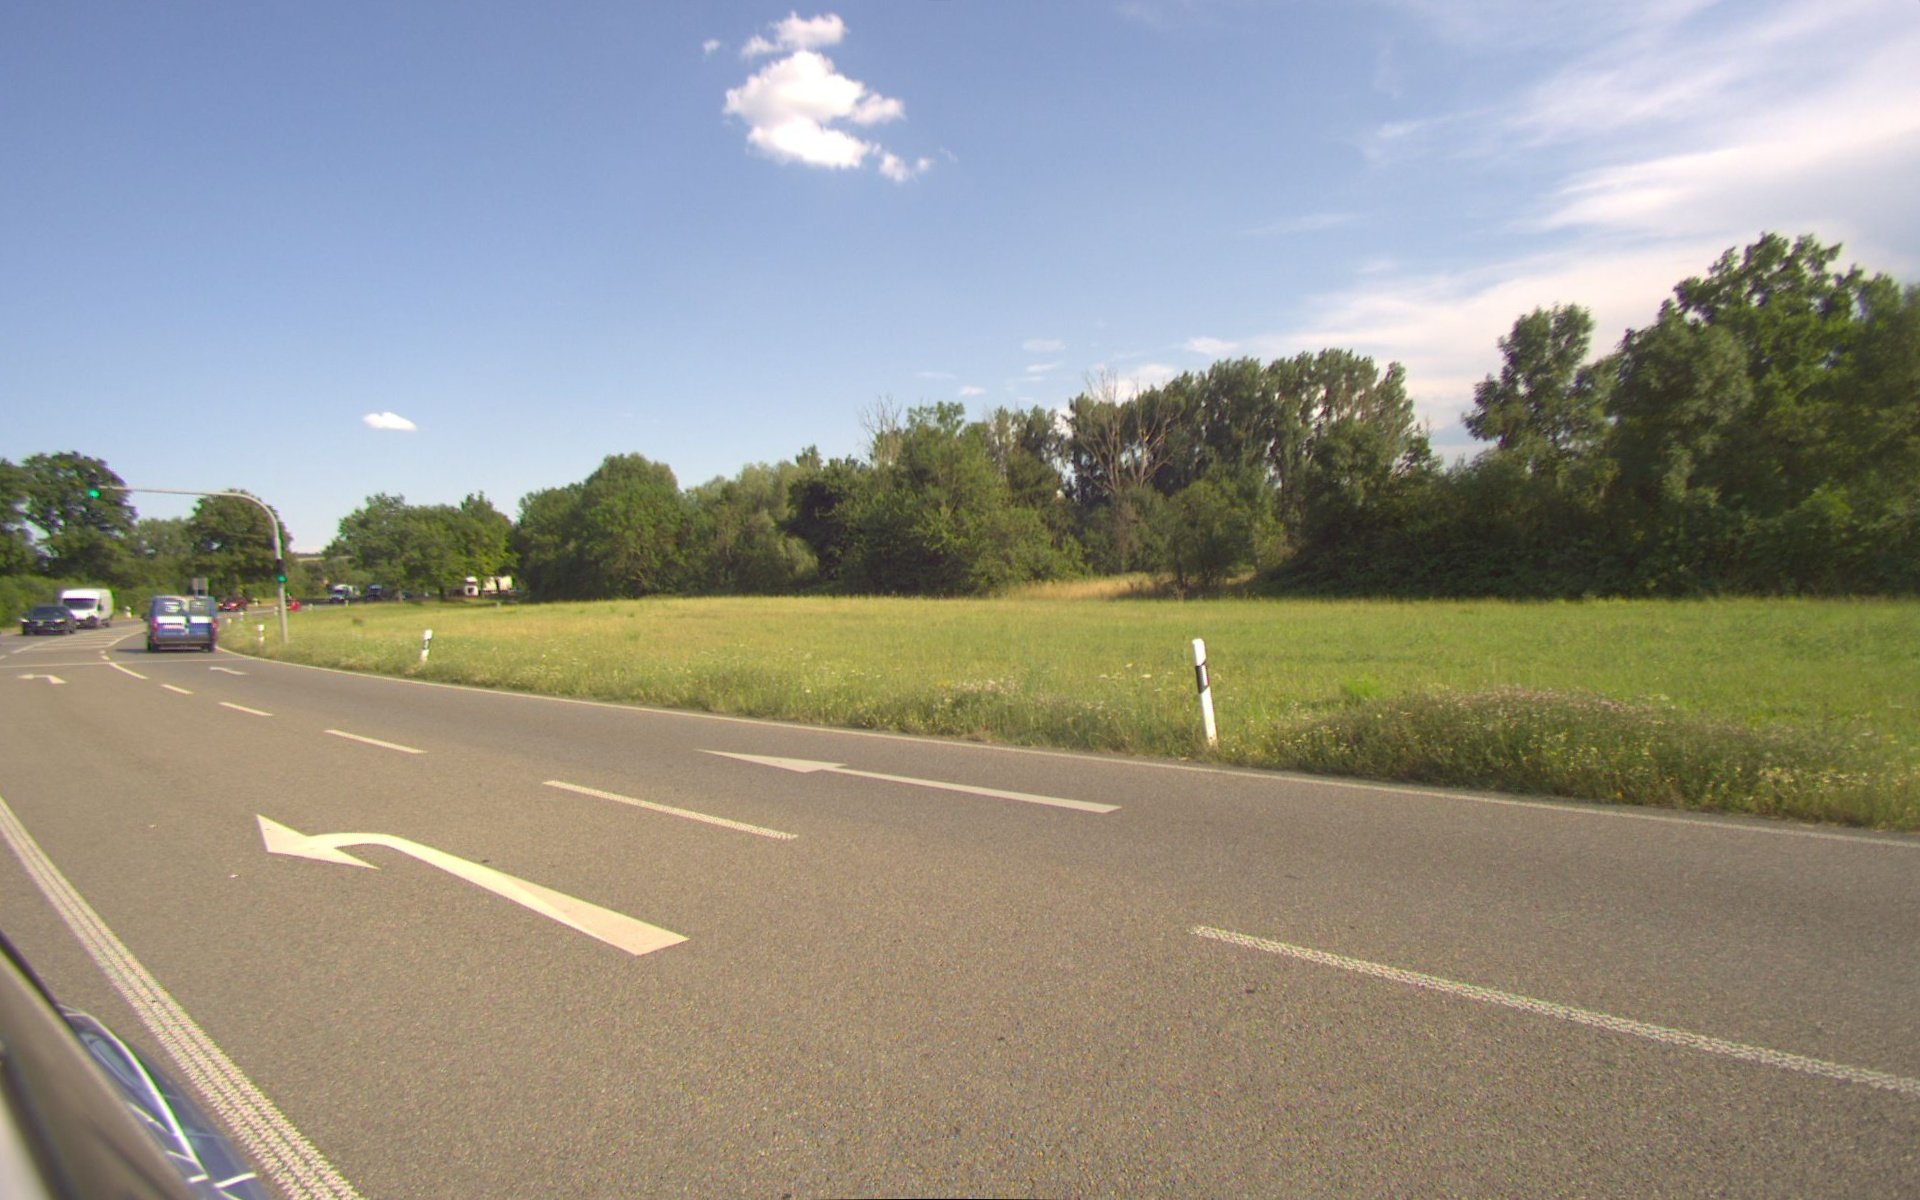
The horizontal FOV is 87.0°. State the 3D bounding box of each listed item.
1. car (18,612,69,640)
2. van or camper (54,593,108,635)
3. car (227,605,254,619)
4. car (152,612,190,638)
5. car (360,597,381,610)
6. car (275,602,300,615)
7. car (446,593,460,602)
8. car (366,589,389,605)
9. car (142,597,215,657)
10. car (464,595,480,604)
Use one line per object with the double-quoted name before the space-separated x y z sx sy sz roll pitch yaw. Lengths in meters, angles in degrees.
"car" -50.101 1.392 55.382 1.582 1.490 3.626 1 -1 -35
"van or camper" -56.941 0.886 65.647 2.002 2.494 5.090 -3 1 -35
"car" -80.875 1.346 113.765 1.646 1.490 3.506 -3 1 -21
"car" -46.504 1.438 59.719 1.685 1.439 4.187 -1 0 -37
"car" -88.607 0.561 152.096 1.701 1.897 4.348 0 -1 -15
"car" -76.729 0.957 115.473 1.563 1.478 3.618 0 -1 -20
"car" -94.346 -0.406 188.225 1.612 1.707 3.628 0 0 -14
"car" -96.051 -0.499 166.923 1.966 2.405 4.950 -3 1 -15
"car" -30.307 1.021 39.174 1.973 2.153 4.786 -1 0 -41
"car" -99.556 -0.152 206.512 1.634 1.616 3.873 -2 1 -4
